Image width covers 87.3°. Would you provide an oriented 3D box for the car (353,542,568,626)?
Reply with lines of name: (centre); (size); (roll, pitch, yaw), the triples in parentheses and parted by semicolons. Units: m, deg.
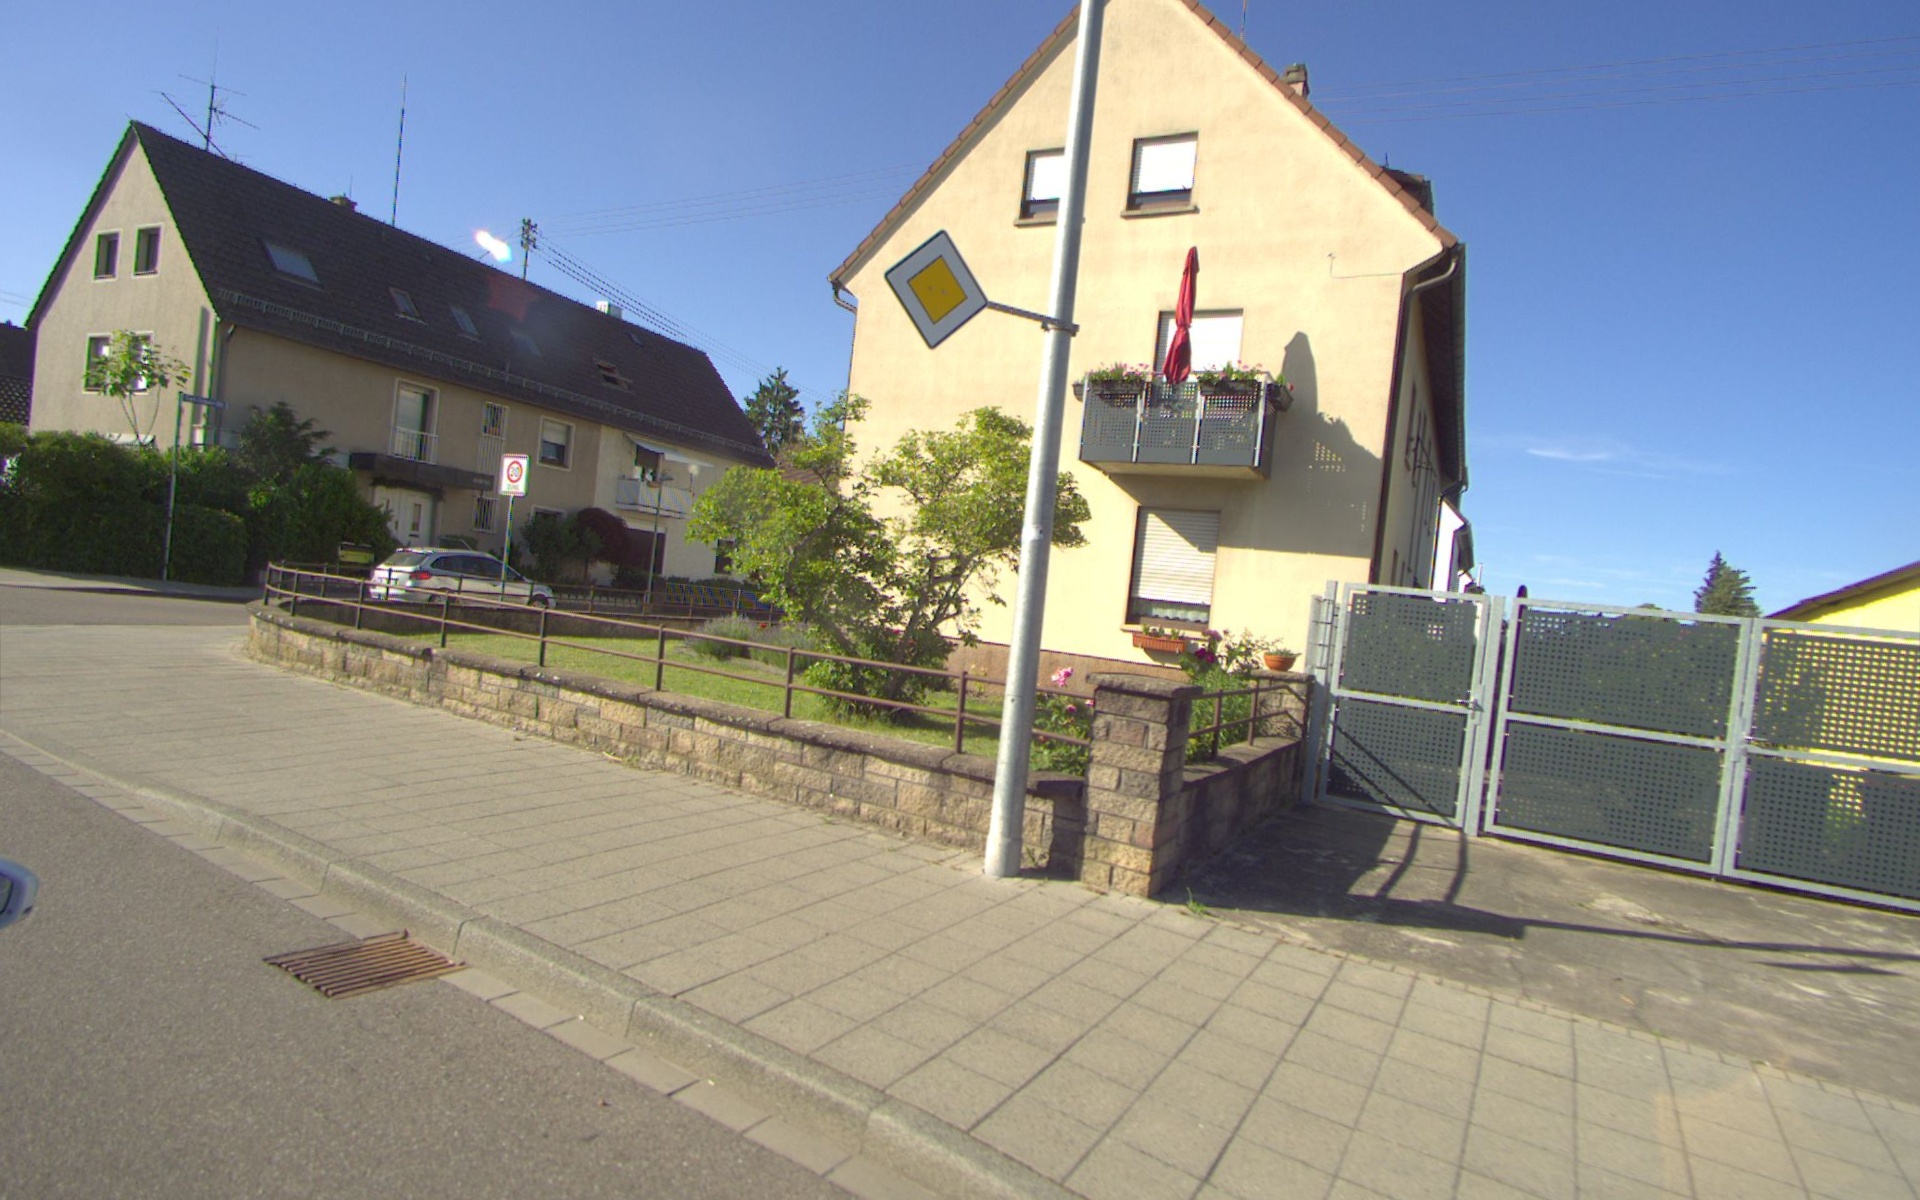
car: (-11.382, -0.304, 23.231); (1.770, 1.530, 4.148); (5, -1, 26)
